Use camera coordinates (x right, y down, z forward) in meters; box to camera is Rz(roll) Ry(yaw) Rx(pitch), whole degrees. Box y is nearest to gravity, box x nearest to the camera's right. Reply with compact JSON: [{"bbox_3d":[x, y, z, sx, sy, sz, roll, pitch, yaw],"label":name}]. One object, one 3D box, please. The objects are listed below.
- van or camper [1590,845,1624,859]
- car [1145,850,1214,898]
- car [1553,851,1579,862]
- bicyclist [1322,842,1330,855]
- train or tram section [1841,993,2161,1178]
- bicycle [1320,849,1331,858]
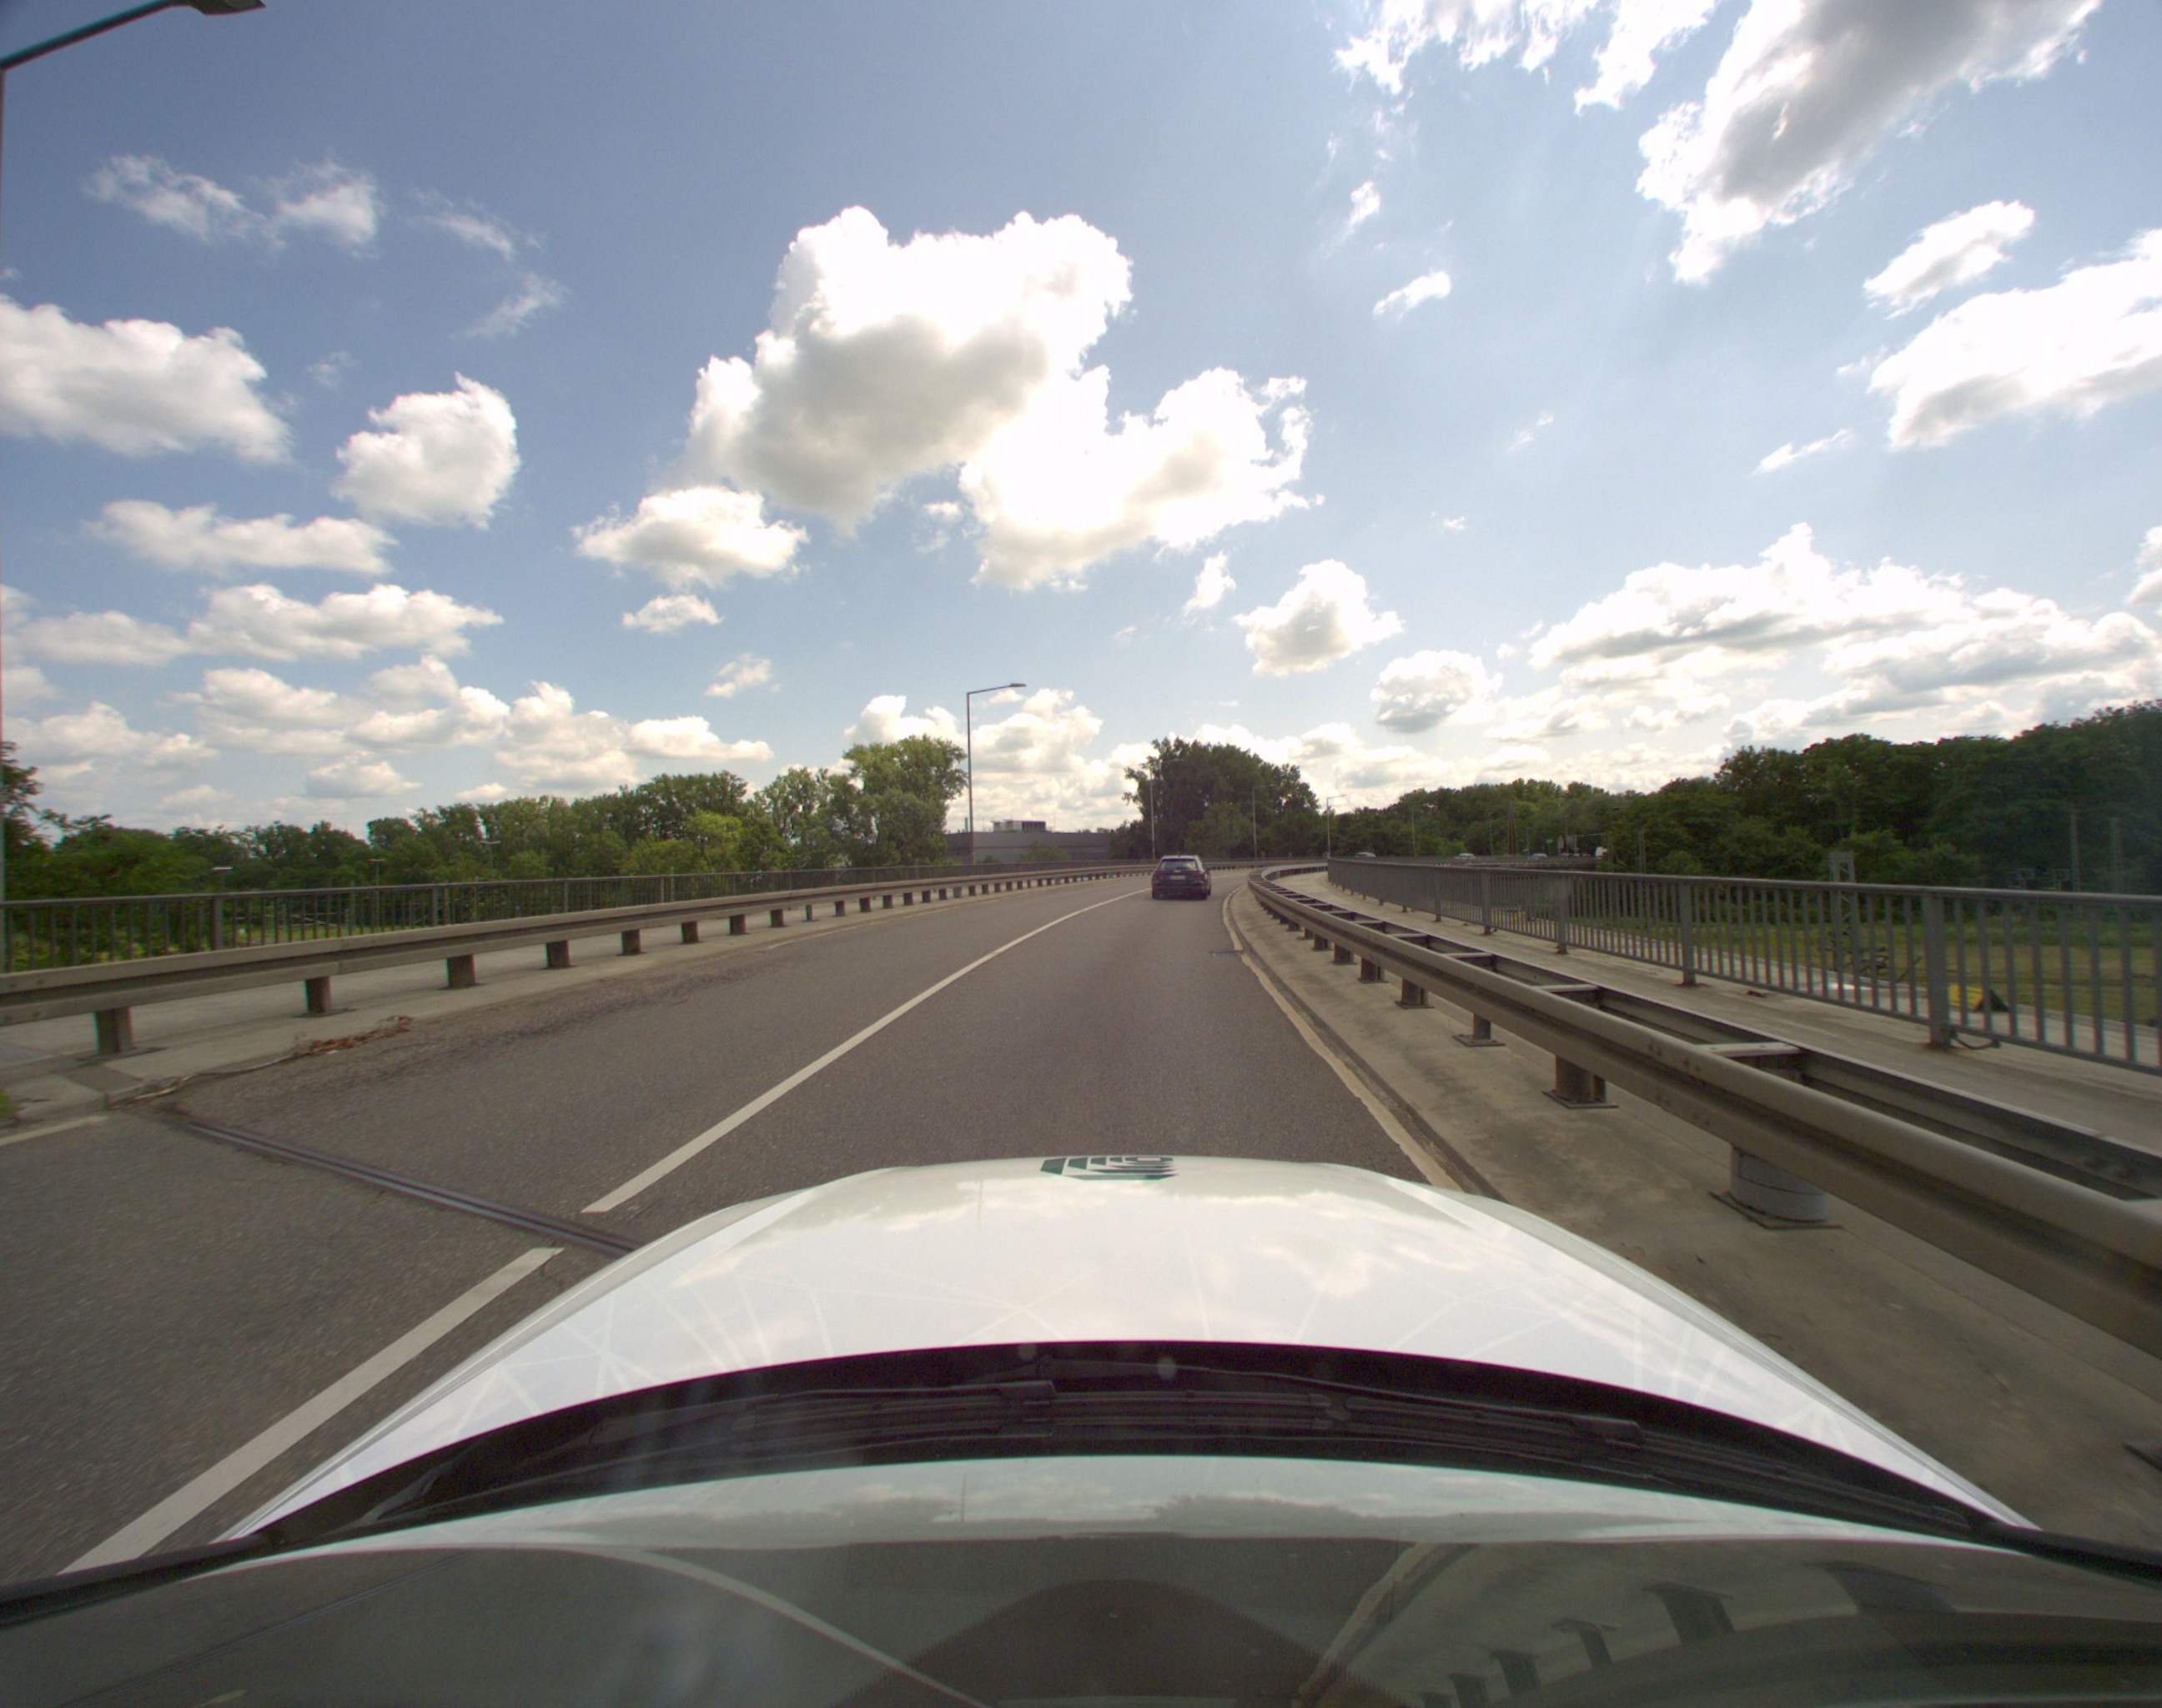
[{"bbox_3d":[88.151,-0.301,136.390,5.247,2.340,2.263,0,1,-24],"label":"van or camper"},{"bbox_3d":[3.408,0.622,27.509,1.815,1.492,4.222,0,0,14],"label":"car"},{"bbox_3d":[74.147,0.324,124.565,3.866,1.651,1.723,0,0,-29],"label":"car"},{"bbox_3d":[30.156,-0.631,100.313,0.760,1.602,0.953,-1,-1,29],"label":"bicyclist"},{"bbox_3d":[30.486,6.295,21.442,14.847,4.154,3.148,-2,-4,29],"label":"train or tram section"},{"bbox_3d":[30.114,-0.019,100.220,0.761,1.095,2.128,-1,-1,29],"label":"bicycle"}]
